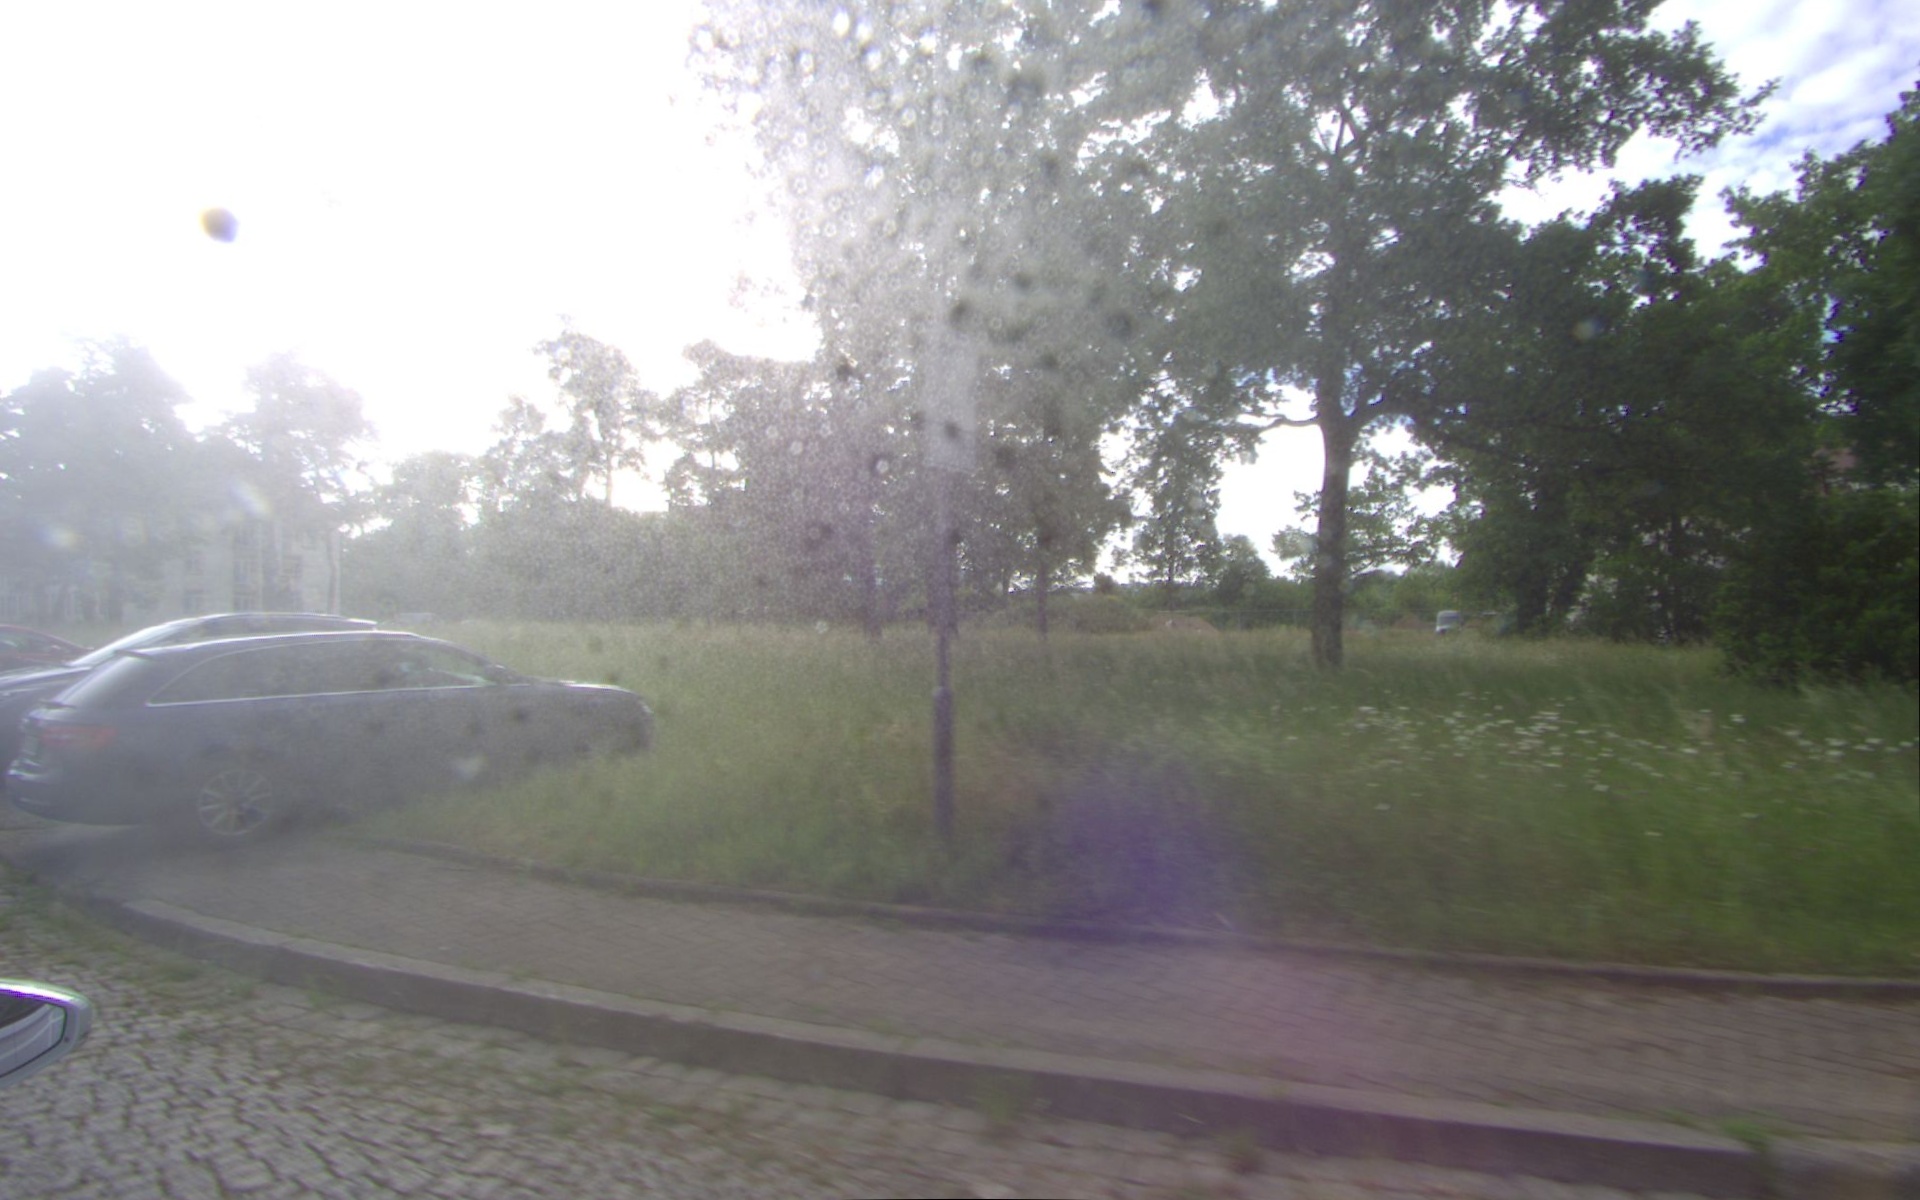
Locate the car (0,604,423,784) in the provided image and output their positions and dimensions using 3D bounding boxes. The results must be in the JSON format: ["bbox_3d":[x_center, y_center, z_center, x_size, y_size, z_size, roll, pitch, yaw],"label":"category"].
[{"bbox_3d":[-8.603,0.873,11.173,1.861,1.644,4.233,0,0,34],"label":"car"}]

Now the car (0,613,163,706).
[{"bbox_3d":[-16.609,1.017,17.457,1.760,1.516,3.912,0,0,34],"label":"car"}]

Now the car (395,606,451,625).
[{"bbox_3d":[-62.172,1.805,116.024,2.079,2.045,5.284,0,-2,37],"label":"car"}]

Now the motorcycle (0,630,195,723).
[{"bbox_3d":[-12.911,1.096,15.002,0.560,1.218,2.224,0,1,34],"label":"motorcycle"}]

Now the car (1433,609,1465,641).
[{"bbox_3d":[41.760,2.168,85.576,2.240,2.674,5.667,0,-2,24],"label":"car"}]

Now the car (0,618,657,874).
[{"bbox_3d":[-4.918,0.914,8.286,1.902,1.458,4.340,0,0,38],"label":"car"}]

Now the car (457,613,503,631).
[{"bbox_3d":[-53.001,2.435,110.633,1.876,1.826,4.119,-1,-2,38],"label":"car"}]

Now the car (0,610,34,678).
[{"bbox_3d":[-24.798,1.072,23.488,1.926,1.616,4.192,0,0,34],"label":"car"}]
